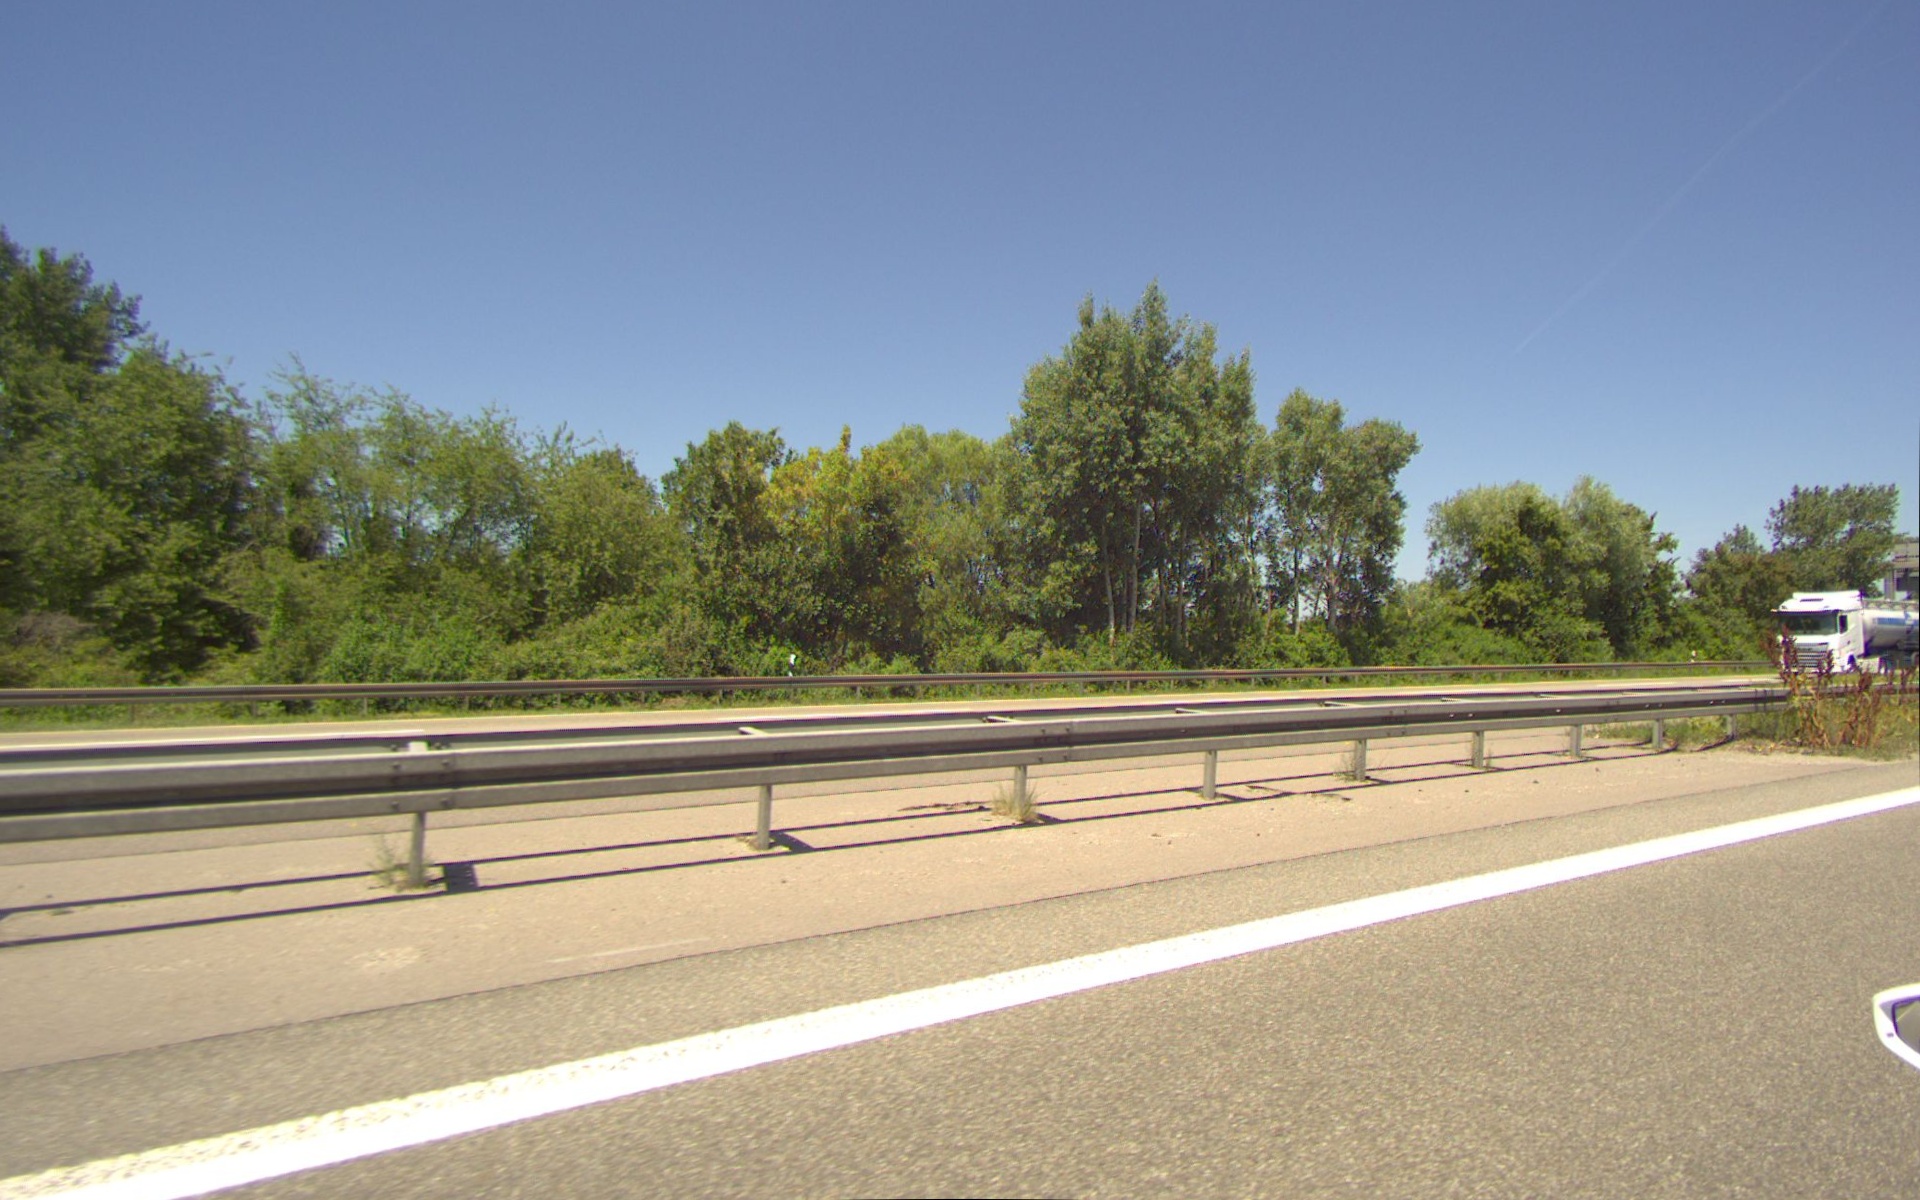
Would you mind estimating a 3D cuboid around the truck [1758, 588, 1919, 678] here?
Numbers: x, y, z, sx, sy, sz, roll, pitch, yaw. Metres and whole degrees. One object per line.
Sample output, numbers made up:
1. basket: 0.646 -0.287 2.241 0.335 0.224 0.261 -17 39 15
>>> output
1. truck: 45.419 1.724 50.745 15.645 4.071 2.940 2 -2 -32
